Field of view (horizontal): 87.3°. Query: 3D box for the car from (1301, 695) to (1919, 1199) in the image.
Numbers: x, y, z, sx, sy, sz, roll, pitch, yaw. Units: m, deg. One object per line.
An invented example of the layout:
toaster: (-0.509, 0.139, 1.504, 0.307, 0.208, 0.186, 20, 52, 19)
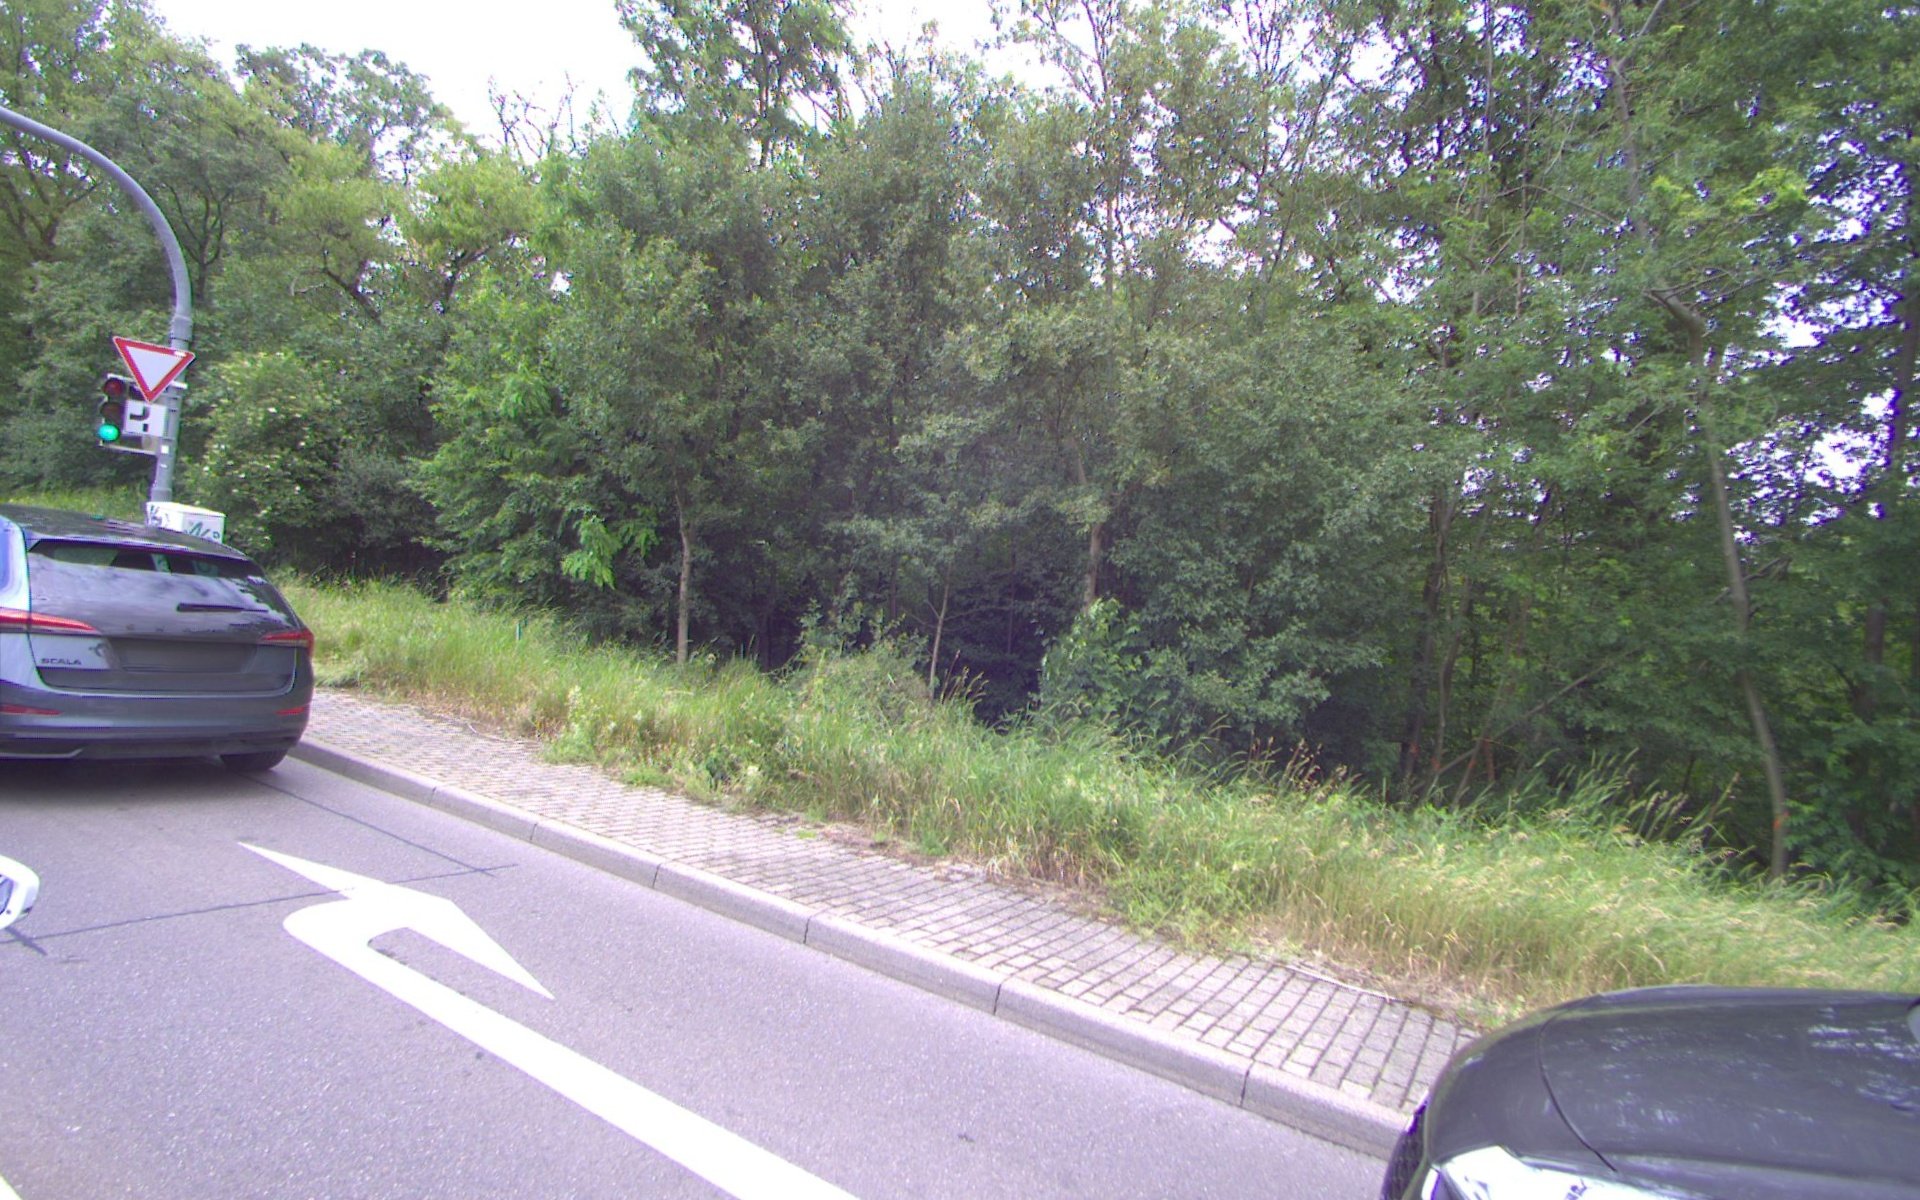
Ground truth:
car: (2.486, 1.129, 1.053, 3.792, 1.474, 1.728, 7, -1, 33)

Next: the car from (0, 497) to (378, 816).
car: (-5.712, 0.135, 6.289, 3.933, 1.468, 1.796, 7, -1, 31)
